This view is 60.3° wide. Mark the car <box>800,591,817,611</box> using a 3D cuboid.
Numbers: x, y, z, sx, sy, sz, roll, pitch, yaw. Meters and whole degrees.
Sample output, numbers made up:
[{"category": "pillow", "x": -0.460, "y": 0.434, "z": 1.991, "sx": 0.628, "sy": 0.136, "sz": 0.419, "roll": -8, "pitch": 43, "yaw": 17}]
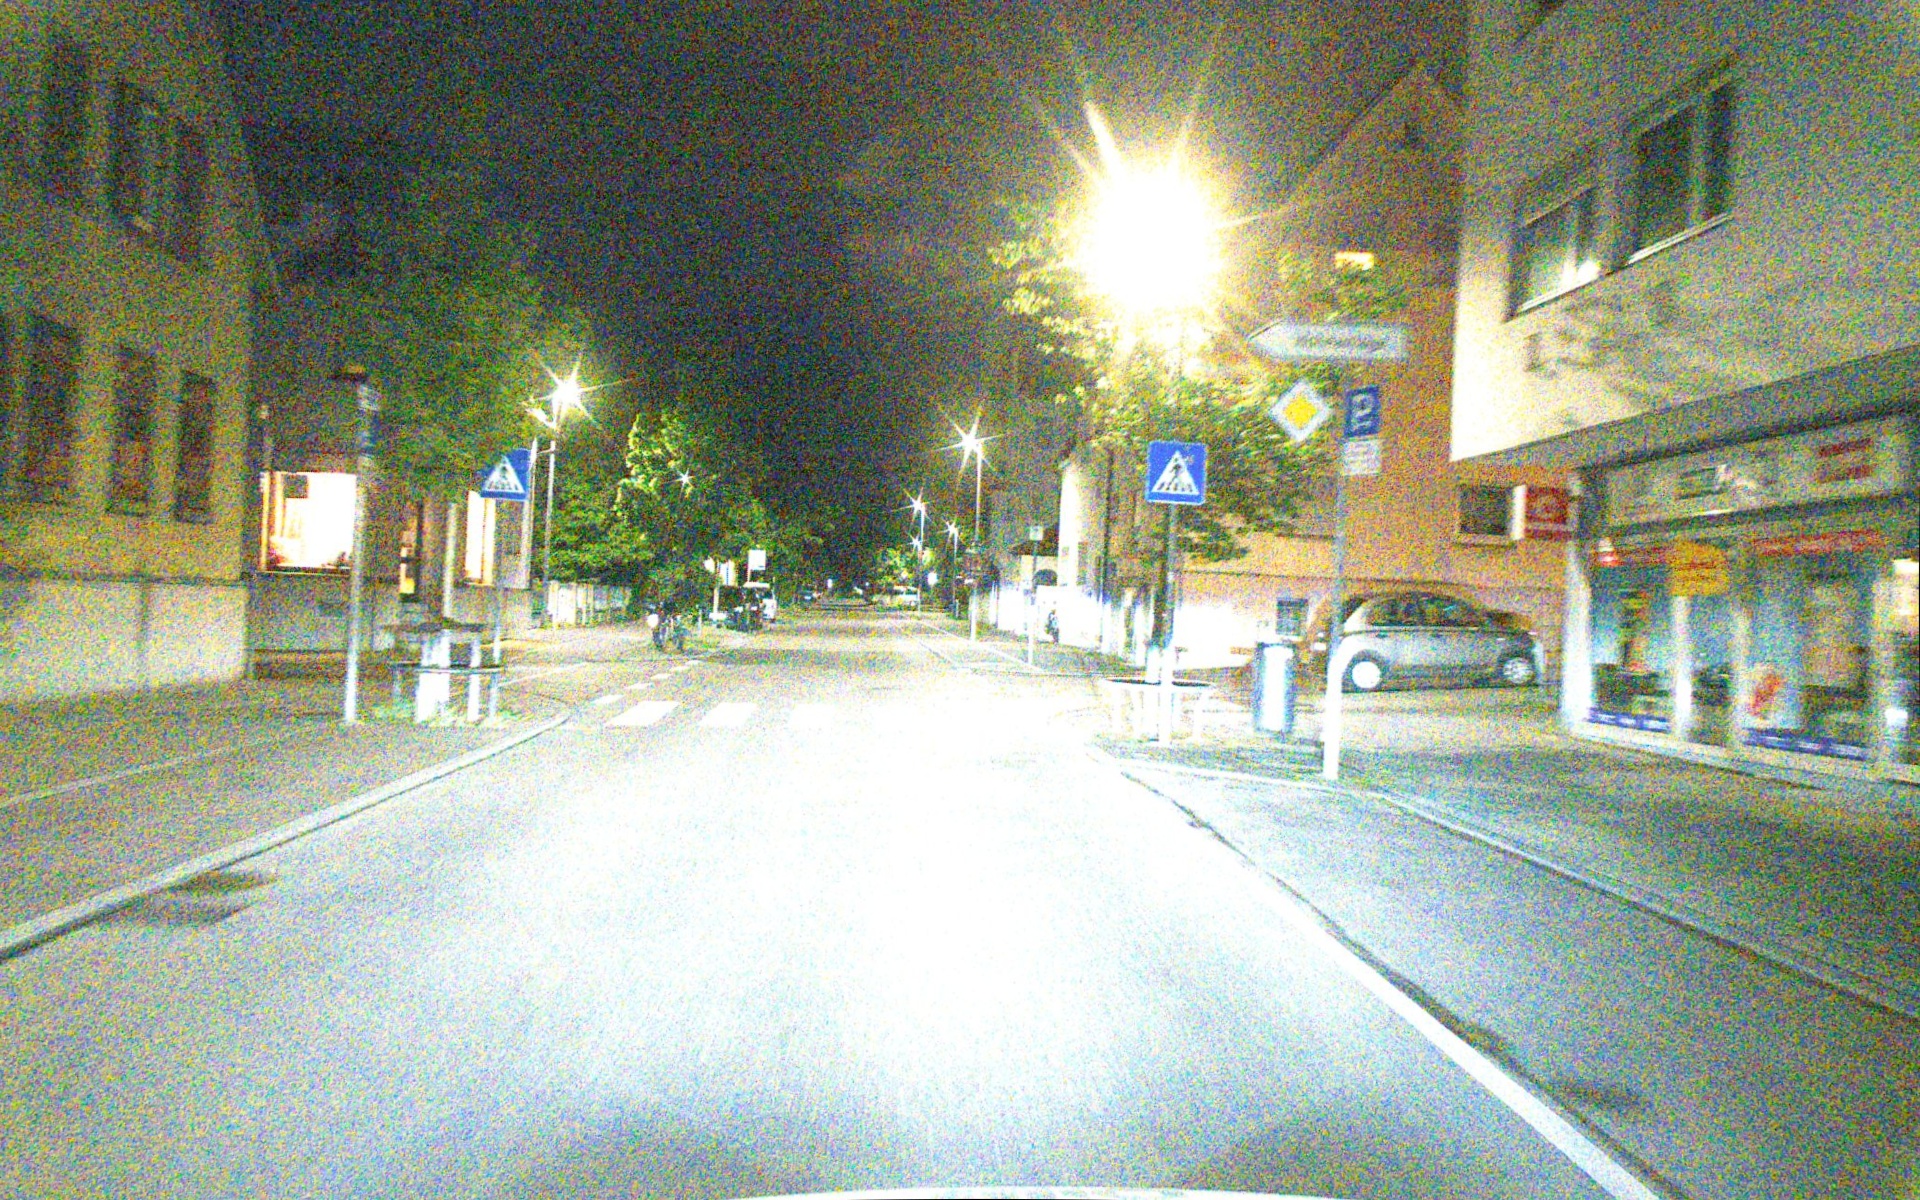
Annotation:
[{"category": "car", "x": -16.902, "y": 0.157, "z": 184.706, "sx": 1.790, "sy": 2.021, "sz": 4.460, "roll": 4, "pitch": -2, "yaw": -5}]

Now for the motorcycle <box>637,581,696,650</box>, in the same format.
[{"category": "motorcycle", "x": -6.552, "y": 0.333, "z": 37.059, "sx": 0.730, "sy": 1.477, "sz": 2.197, "roll": 2, "pitch": 0, "yaw": 4}]

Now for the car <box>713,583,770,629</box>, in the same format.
[{"category": "car", "x": -8.031, "y": 0.189, "z": 61.114, "sx": 1.732, "sy": 1.545, "sz": 4.275, "roll": 3, "pitch": 0, "yaw": -4}]

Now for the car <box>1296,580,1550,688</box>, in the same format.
[{"category": "car", "x": 7.261, "y": 0.516, "z": 26.142, "sx": 3.437, "sy": 1.551, "sz": 1.819, "roll": -1, "pitch": 0, "yaw": -5}]

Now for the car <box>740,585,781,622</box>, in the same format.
[{"category": "car", "x": -9.034, "y": 0.143, "z": 75.063, "sx": 1.639, "sy": 1.548, "sz": 2.975, "roll": 4, "pitch": 0, "yaw": -5}]

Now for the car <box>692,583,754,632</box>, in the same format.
[{"category": "car", "x": -7.959, "y": 0.244, "z": 55.841, "sx": 1.654, "sy": 1.536, "sz": 4.276, "roll": 2, "pitch": 0, "yaw": -3}]

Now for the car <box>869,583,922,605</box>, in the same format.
[{"category": "car", "x": -6.287, "y": -0.571, "z": 161.627, "sx": 5.082, "sy": 2.049, "sz": 2.099, "roll": 1, "pitch": 0, "yaw": -6}]

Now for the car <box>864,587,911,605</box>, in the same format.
[{"category": "car", "x": -8.180, "y": -0.427, "z": 186.408, "sx": 5.073, "sy": 1.920, "sz": 2.103, "roll": 1, "pitch": 0, "yaw": 5}]

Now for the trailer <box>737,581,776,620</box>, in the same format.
[{"category": "trailer", "x": -9.606, "y": 0.018, "z": 78.202, "sx": 1.419, "sy": 1.717, "sz": 3.425, "roll": 4, "pitch": 0, "yaw": -2}]

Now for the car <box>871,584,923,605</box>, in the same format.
[{"category": "car", "x": -6.252, "y": -0.571, "z": 164.805, "sx": 5.082, "sy": 2.049, "sz": 2.099, "roll": 1, "pitch": 0, "yaw": -6}]

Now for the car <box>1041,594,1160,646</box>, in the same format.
[{"category": "car", "x": 4.529, "y": 0.643, "z": 53.541, "sx": 3.636, "sy": 1.499, "sz": 1.730, "roll": 2, "pitch": 0, "yaw": -2}]
